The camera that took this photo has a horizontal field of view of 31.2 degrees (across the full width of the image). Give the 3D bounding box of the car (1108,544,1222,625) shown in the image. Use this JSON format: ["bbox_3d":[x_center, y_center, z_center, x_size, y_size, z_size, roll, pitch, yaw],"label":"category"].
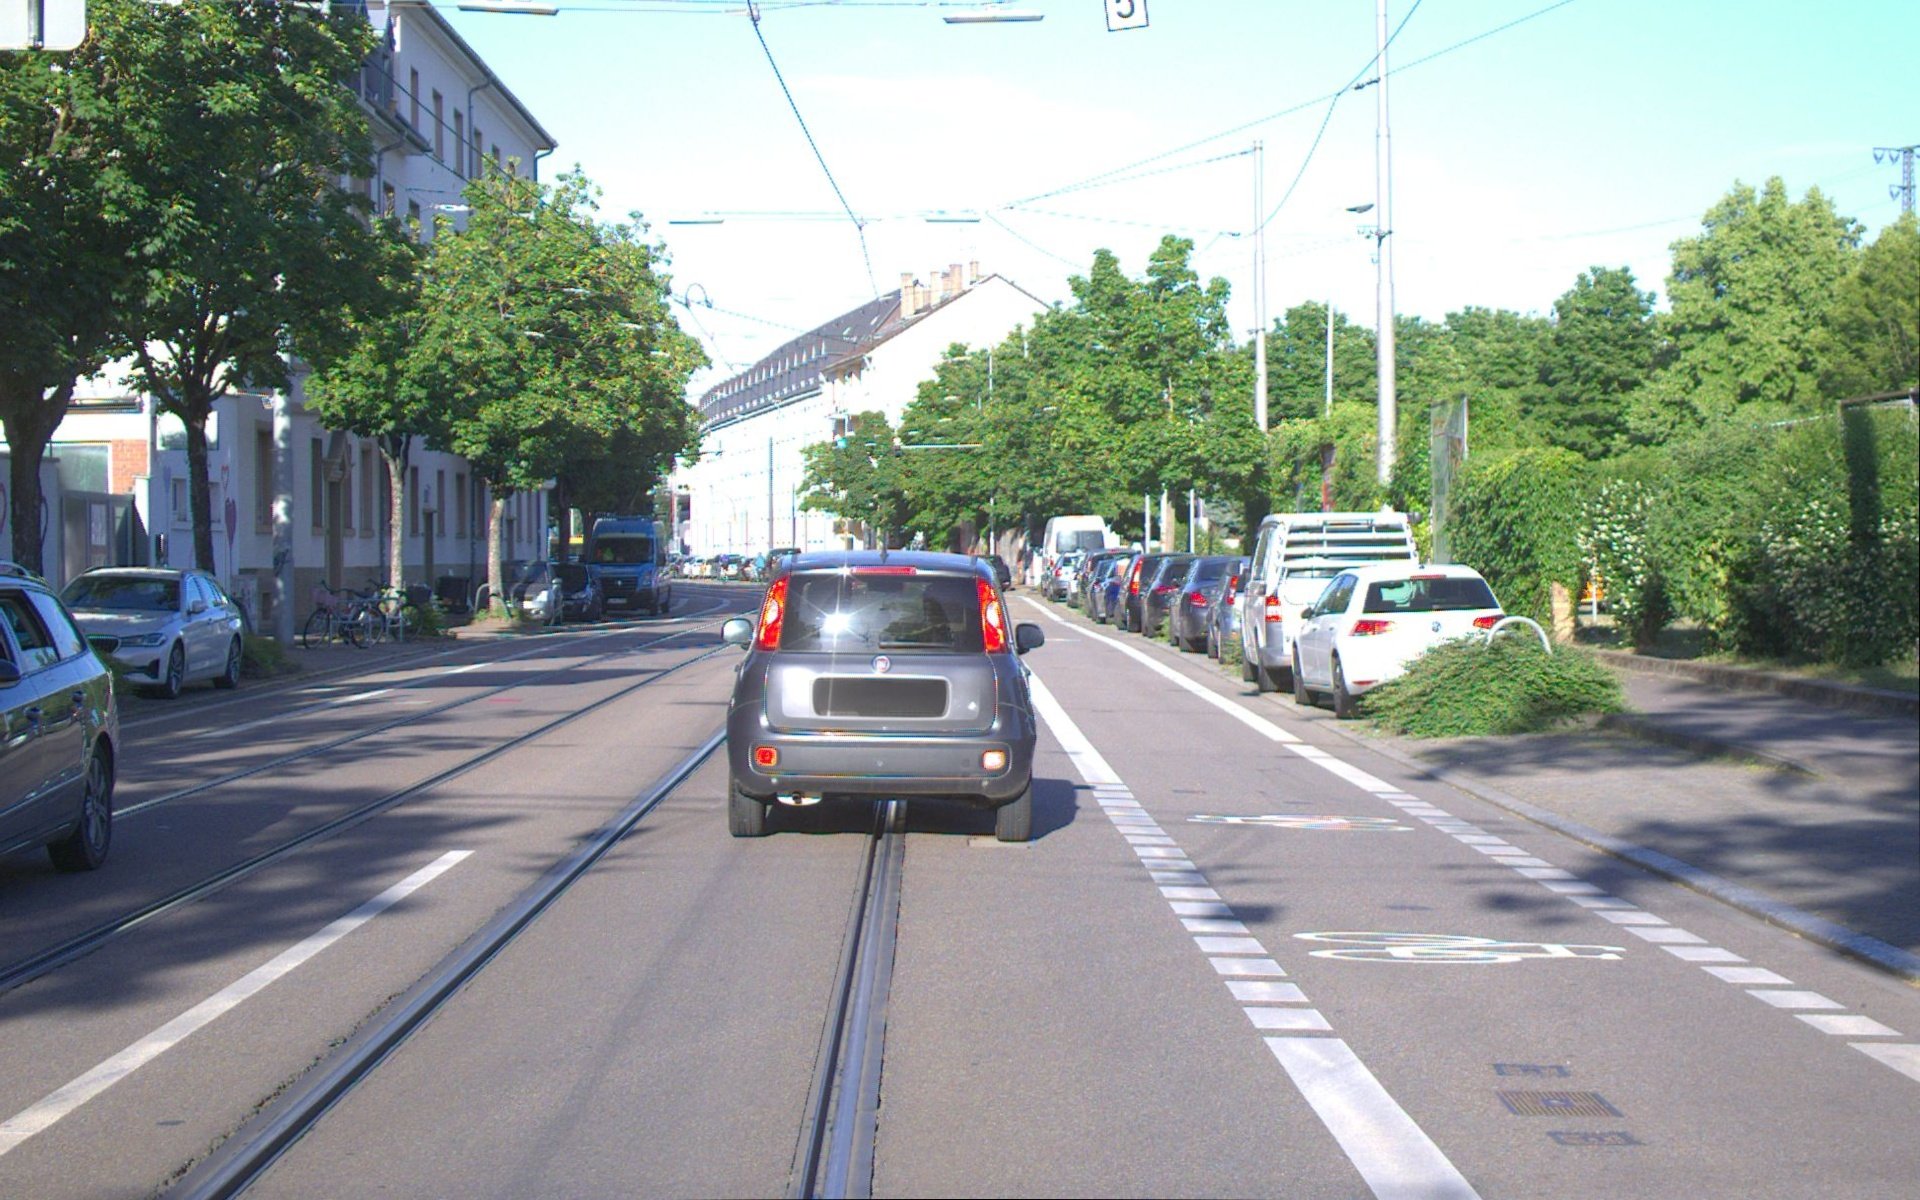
[{"bbox_3d":[4.006,-0.318,67.807,1.824,1.487,3.815,-2,1,-2],"label":"car"}]

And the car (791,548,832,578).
[{"bbox_3d":[-7.815,-1.955,180.596,1.655,1.566,3.500,1,1,-11],"label":"car"}]

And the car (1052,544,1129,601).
[{"bbox_3d":[3.619,-0.771,95.837,1.727,1.507,4.252,1,1,-3],"label":"car"}]

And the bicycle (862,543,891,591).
[{"bbox_3d":[-3.103,-1.230,127.383,0.675,1.741,2.158,1,0,-11],"label":"bicycle"}]

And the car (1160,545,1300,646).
[{"bbox_3d":[4.126,-0.091,53.224,1.824,1.479,4.601,1,1,0],"label":"car"}]

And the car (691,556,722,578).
[{"bbox_3d":[-16.339,-2.156,221.626,1.582,1.400,3.377,1,1,-11],"label":"car"}]

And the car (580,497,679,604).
[{"bbox_3d":[-9.003,-1.332,94.001,2.017,2.816,6.032,1,1,1],"label":"car"}]

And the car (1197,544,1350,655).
[{"bbox_3d":[4.374,-0.030,48.435,1.873,1.467,4.075,1,1,2],"label":"car"}]

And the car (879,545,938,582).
[{"bbox_3d":[-2.228,-1.565,147.409,1.688,1.525,4.001,-2,1,-13],"label":"car"}]

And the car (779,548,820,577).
[{"bbox_3d":[-8.620,-2.021,184.836,1.655,1.566,3.877,1,1,-11],"label":"car"}]

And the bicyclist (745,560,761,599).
[{"bbox_3d":[-10.822,-1.078,180.075,0.715,2.007,0.832,1,0,-11],"label":"bicyclist"}]

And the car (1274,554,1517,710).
[{"bbox_3d":[4.315,0.278,34.659,1.675,1.413,4.503,-2,1,-2],"label":"car"}]

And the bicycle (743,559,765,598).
[{"bbox_3d":[-10.786,-1.122,179.966,0.741,2.007,2.812,1,1,-11],"label":"bicycle"}]

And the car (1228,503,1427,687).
[{"bbox_3d":[4.198,-0.084,40.009,1.854,1.984,5.242,-1,1,1],"label":"car"}]

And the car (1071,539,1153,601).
[{"bbox_3d":[4.003,-0.797,91.061,1.727,1.599,4.343,1,1,-3],"label":"car"}]

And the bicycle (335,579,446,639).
[{"bbox_3d":[-9.940,0.158,60.068,0.532,1.036,1.982,1,1,44],"label":"bicycle"}]

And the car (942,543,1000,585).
[{"bbox_3d":[0.403,-1.384,130.755,1.688,1.525,4.001,-2,1,-7],"label":"car"}]

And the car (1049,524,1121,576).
[{"bbox_3d":[3.805,-1.531,105.093,1.910,1.524,4.601,-1,1,-1],"label":"car"}]

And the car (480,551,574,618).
[{"bbox_3d":[-10.039,-0.369,79.897,1.651,1.486,4.000,1,1,0],"label":"car"}]

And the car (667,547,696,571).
[{"bbox_3d":[-19.073,-2.822,235.598,1.582,1.593,3.377,1,1,-11],"label":"car"}]

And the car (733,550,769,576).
[{"bbox_3d":[-12.204,-2.175,200.751,1.655,1.495,3.130,1,1,-11],"label":"car"}]

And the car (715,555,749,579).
[{"bbox_3d":[-13.955,-2.028,210.599,1.582,1.400,3.377,-4,1,-11],"label":"car"}]

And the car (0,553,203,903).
[{"bbox_3d":[-4.851,0.541,15.076,1.766,1.458,4.747,-1,0,3],"label":"car"}]

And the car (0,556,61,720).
[{"bbox_3d":[-9.770,0.317,32.724,1.772,1.481,4.306,1,1,-7],"label":"car"}]

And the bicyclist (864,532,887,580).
[{"bbox_3d":[-3.129,-1.633,127.358,0.699,1.753,0.758,1,0,-11],"label":"bicyclist"}]

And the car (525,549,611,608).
[{"bbox_3d":[-9.810,-0.556,86.282,1.651,1.420,4.190,1,1,0],"label":"car"}]

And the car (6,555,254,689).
[{"bbox_3d":[-9.797,0.222,40.927,1.864,1.485,4.662,1,1,-1],"label":"car"}]

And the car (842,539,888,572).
[{"bbox_3d":[-4.510,-2.102,162.464,1.635,1.503,3.398,-3,1,-10],"label":"car"}]

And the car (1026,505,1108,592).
[{"bbox_3d":[3.443,-1.659,111.747,2.180,2.656,6.091,-2,1,-2],"label":"car"}]

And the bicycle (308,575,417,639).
[{"bbox_3d":[-9.791,0.110,56.400,0.668,1.036,1.783,1,1,37],"label":"bicycle"}]

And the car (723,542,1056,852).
[{"bbox_3d":[-0.380,0.461,19.476,1.650,1.536,4.235,1,1,-1],"label":"car"}]

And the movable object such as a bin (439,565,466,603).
[{"bbox_3d":[-12.584,-0.397,85.196,0.596,0.931,0.569,-1,1,-3],"label":"movable object such as a bin"}]

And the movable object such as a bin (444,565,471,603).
[{"bbox_3d":[-12.542,-0.402,85.791,0.596,0.931,0.569,-1,1,-3],"label":"movable object such as a bin"}]

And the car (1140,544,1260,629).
[{"bbox_3d":[4.271,-0.257,61.674,1.824,1.447,4.642,-1,1,0],"label":"car"}]
